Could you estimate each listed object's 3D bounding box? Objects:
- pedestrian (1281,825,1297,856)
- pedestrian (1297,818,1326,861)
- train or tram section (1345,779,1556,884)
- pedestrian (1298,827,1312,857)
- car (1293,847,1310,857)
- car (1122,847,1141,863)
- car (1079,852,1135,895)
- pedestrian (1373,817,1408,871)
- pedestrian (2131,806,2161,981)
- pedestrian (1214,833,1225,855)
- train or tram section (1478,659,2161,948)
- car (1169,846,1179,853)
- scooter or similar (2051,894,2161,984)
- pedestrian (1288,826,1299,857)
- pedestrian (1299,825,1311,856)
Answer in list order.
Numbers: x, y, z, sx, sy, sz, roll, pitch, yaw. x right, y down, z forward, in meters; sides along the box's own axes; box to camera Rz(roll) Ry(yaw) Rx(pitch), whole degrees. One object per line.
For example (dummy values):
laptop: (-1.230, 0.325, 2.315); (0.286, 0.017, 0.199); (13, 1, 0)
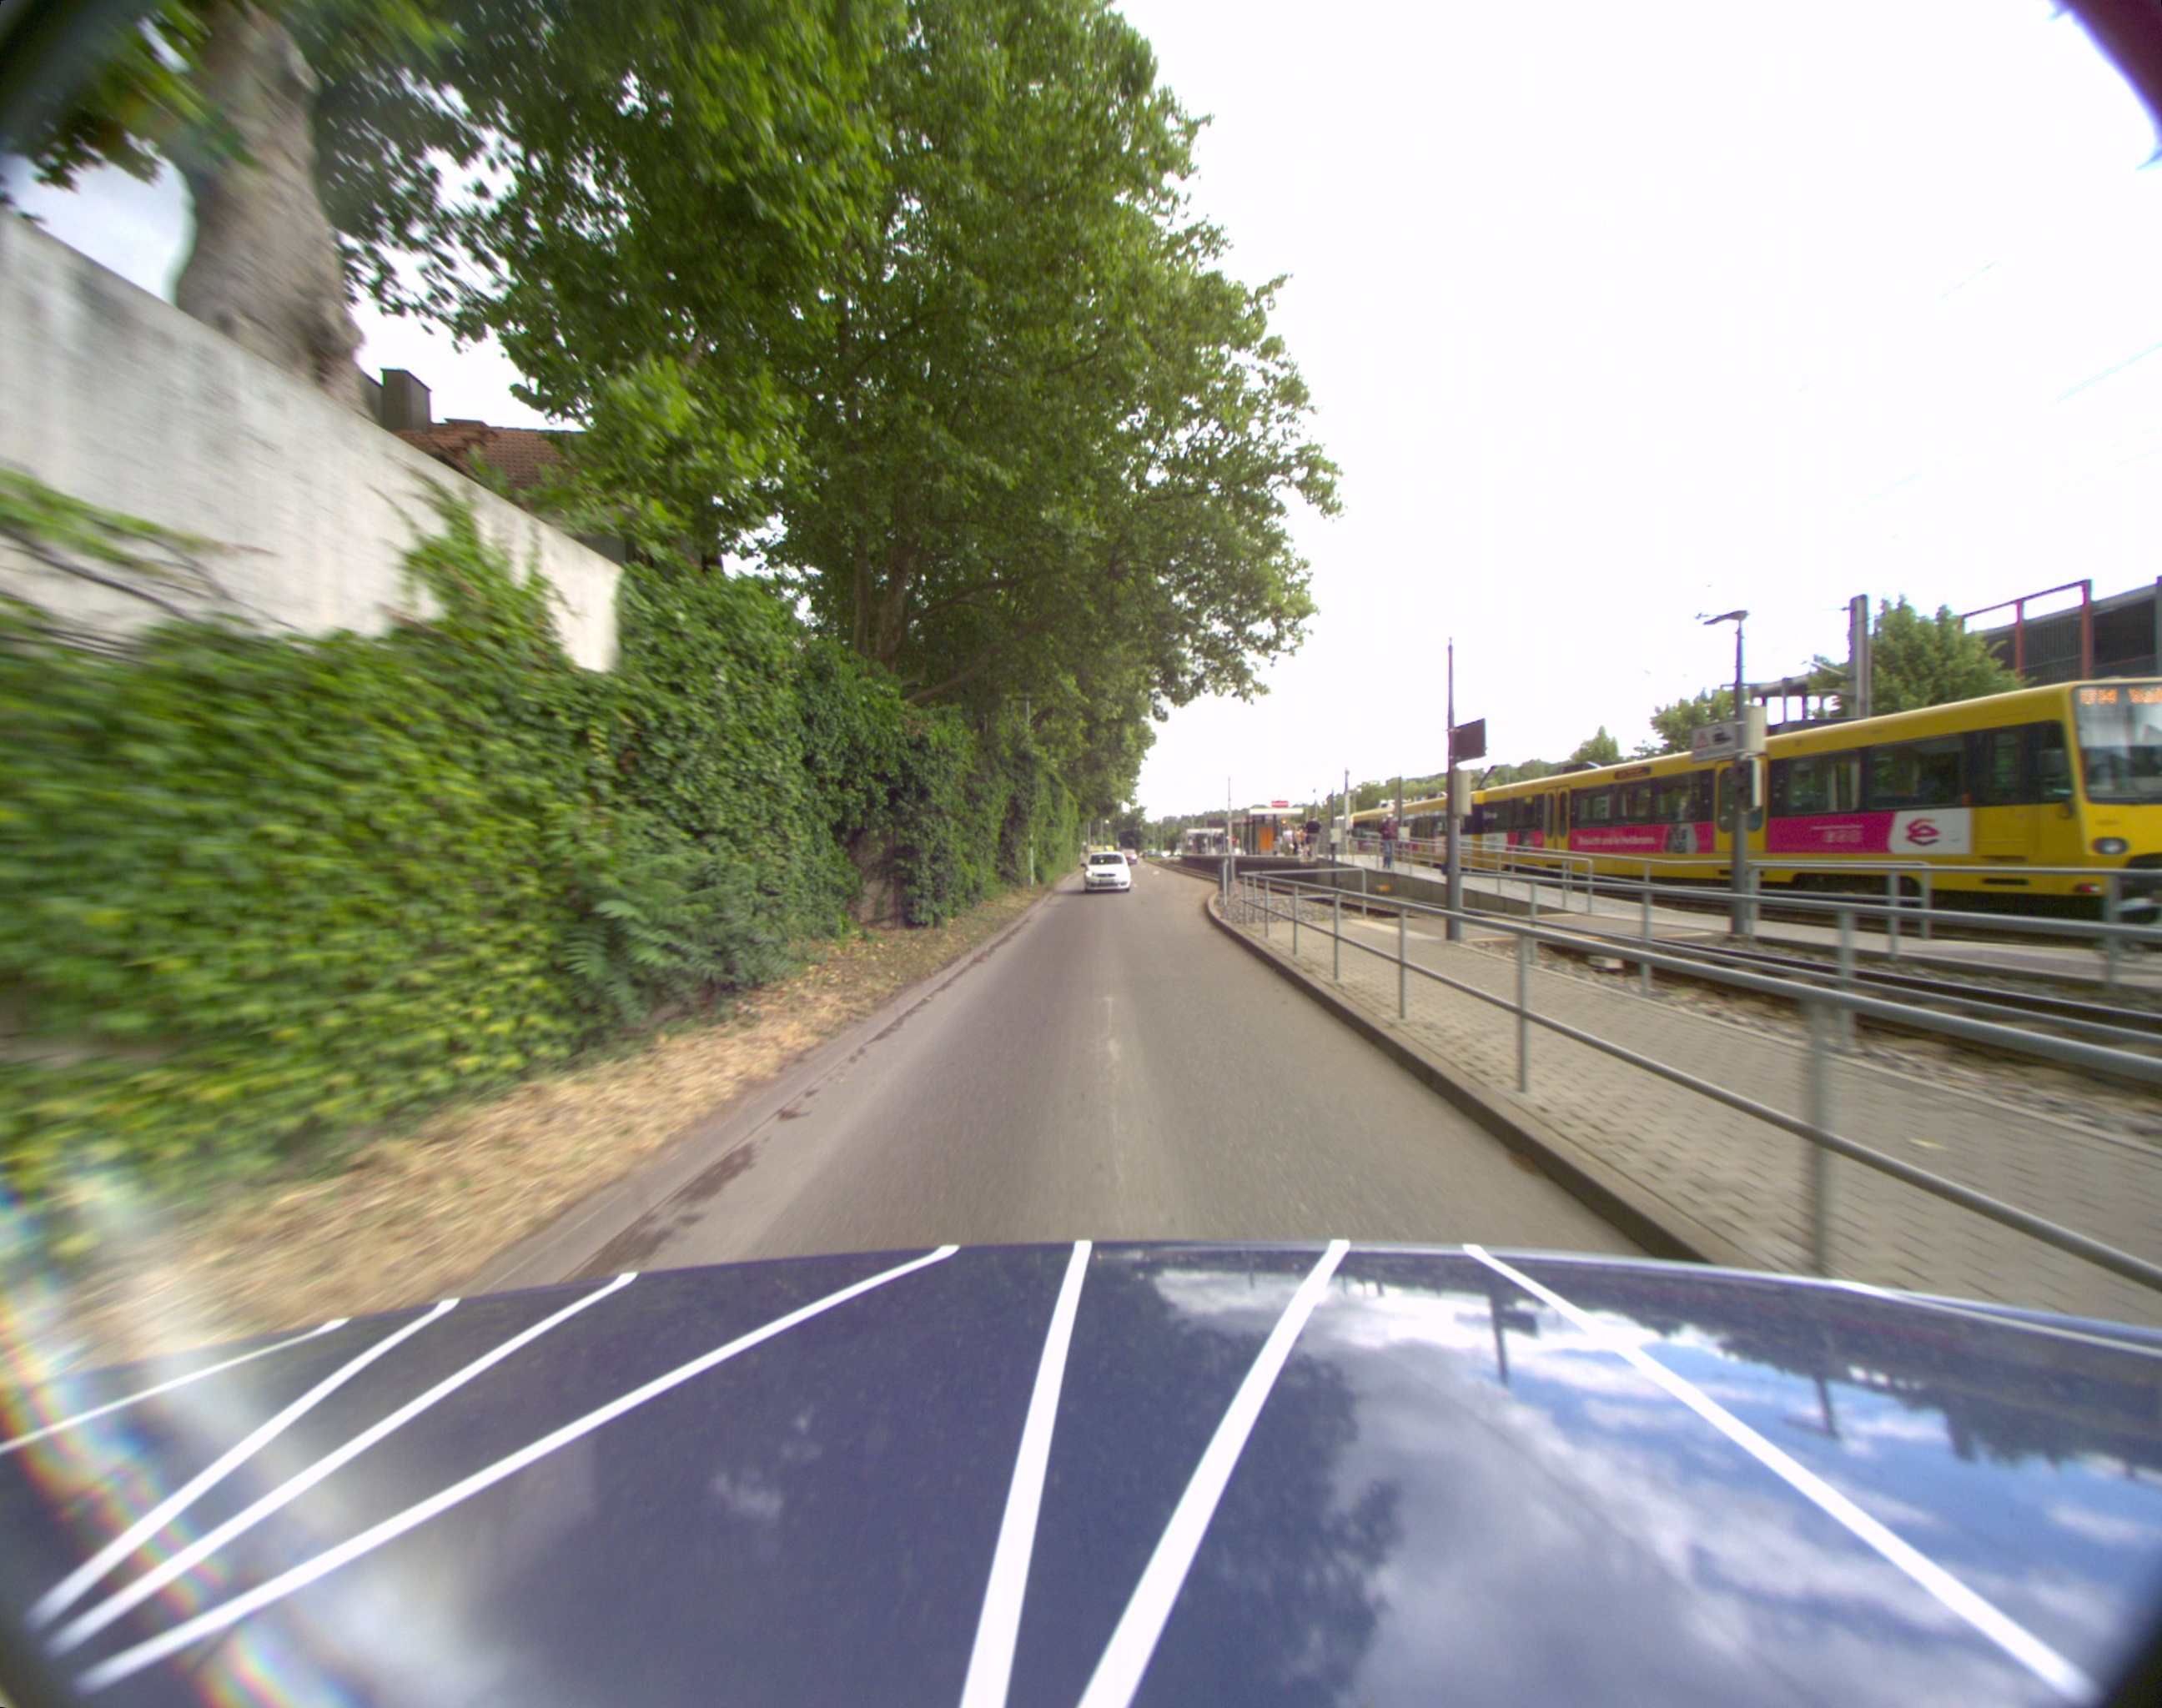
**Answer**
pedestrian: (10.079, -0.641, 36.760); (0.519, 1.474, 0.583); (1, 2, 41)
pedestrian: (9.183, -0.571, 30.284); (0.878, 1.668, 0.743); (-1, 2, -44)
train or tram section: (17.145, -0.919, 37.929); (2.762, 3.860, 18.636); (-2, 0, 4)
pedestrian: (10.350, -0.559, 35.103); (0.480, 1.397, 0.411); (0, 1, 2)
car: (33.686, -0.314, 116.234); (1.616, 1.342, 4.031); (-1, 0, 4)
car: (5.449, 0.129, 81.454); (1.895, 1.607, 4.509); (-2, 0, 5)
car: (0.914, 0.684, 28.429); (1.674, 1.439, 3.603); (-2, 0, -4)
pedestrian: (9.653, -0.314, 23.702); (0.773, 1.668, 0.791); (1, 1, 3)
pedestrian: (10.423, 0.372, 6.948); (0.613, 1.644, 0.797); (1, 1, 24)
pedestrian: (11.244, -0.823, 61.649); (0.750, 1.734, 0.937); (1, 1, 3)
train or tram section: (15.656, -0.757, 19.286); (2.762, 3.806, 18.636); (-2, 0, 5)
car: (21.401, -1.115, 174.227); (1.965, 1.543, 4.003); (0, 1, 12)
scooter or similar: (9.941, 0.796, 7.260); (0.496, 0.763, 0.800); (1, 1, 24)
pedestrian: (10.046, -0.594, 35.961); (0.361, 1.456, 0.639); (-1, 1, 2)
pedestrian: (10.514, -0.630, 35.687); (0.476, 1.475, 0.543); (1, 1, 12)
